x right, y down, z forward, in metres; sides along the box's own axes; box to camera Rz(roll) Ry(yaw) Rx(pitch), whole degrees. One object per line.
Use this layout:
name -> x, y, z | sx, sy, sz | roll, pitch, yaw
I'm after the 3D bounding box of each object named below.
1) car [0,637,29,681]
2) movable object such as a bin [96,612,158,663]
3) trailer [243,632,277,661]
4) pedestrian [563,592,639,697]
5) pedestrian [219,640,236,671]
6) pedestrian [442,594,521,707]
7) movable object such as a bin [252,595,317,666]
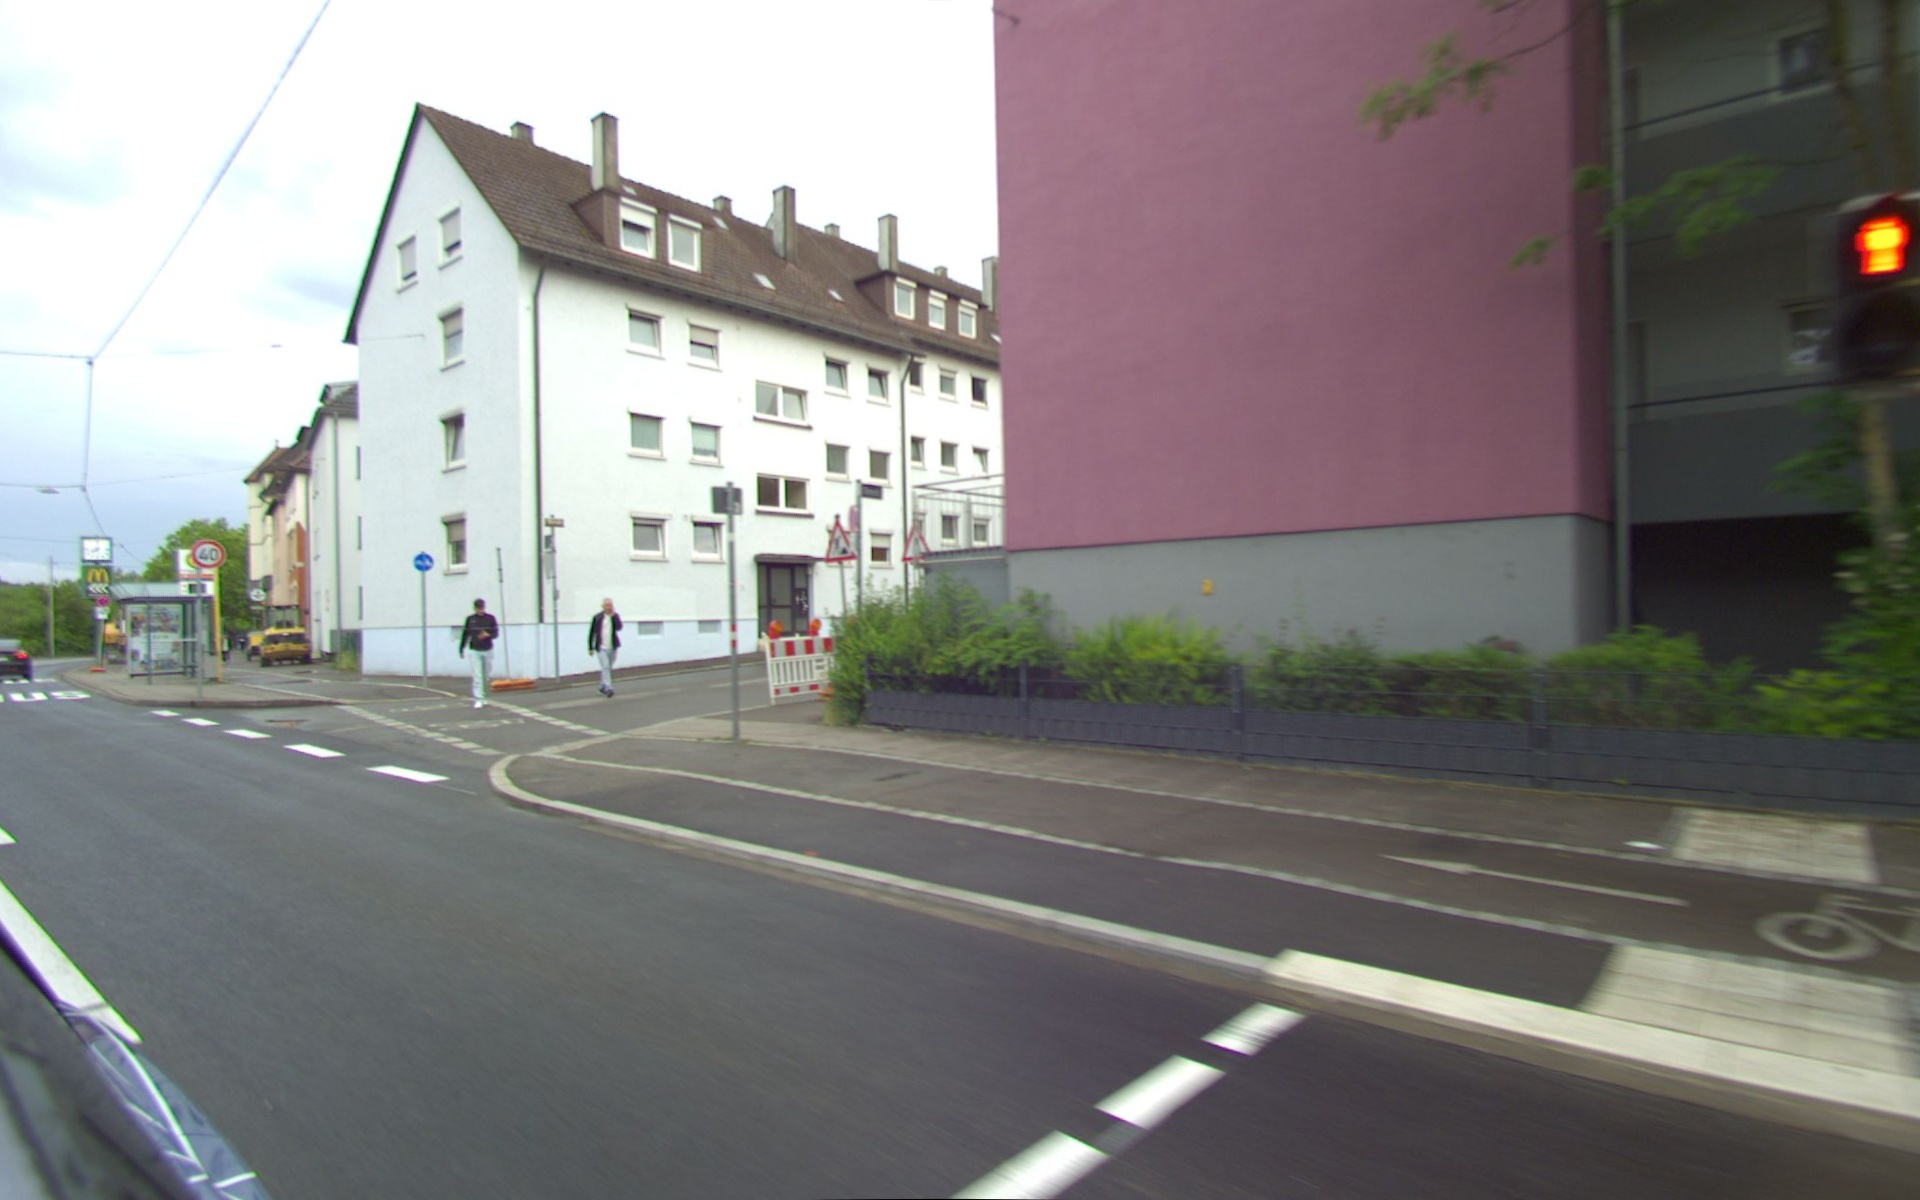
car -> -34.315, 2.098, 35.947 | 1.762, 1.463, 4.393 | -1, -1, -44
movable object such as a bin -> -53.727, 2.419, 65.369 | 2.787, 3.136, 4.644 | -1, -2, -36
trailer -> -37.063, 2.441, 53.549 | 1.306, 1.409, 4.005 | -2, -1, -36
pedestrian -> -6.544, 0.802, 18.452 | 1.115, 1.835, 0.797 | -3, -1, 41
pedestrian -> -37.796, 2.881, 52.206 | 0.595, 1.540, 1.040 | -3, -1, -38
pedestrian -> -8.357, 0.866, 17.666 | 1.043, 1.897, 0.853 | -3, -1, 39
movable object such as a bin -> -29.639, 1.353, 44.378 | 2.101, 2.828, 4.990 | -4, 0, -35
